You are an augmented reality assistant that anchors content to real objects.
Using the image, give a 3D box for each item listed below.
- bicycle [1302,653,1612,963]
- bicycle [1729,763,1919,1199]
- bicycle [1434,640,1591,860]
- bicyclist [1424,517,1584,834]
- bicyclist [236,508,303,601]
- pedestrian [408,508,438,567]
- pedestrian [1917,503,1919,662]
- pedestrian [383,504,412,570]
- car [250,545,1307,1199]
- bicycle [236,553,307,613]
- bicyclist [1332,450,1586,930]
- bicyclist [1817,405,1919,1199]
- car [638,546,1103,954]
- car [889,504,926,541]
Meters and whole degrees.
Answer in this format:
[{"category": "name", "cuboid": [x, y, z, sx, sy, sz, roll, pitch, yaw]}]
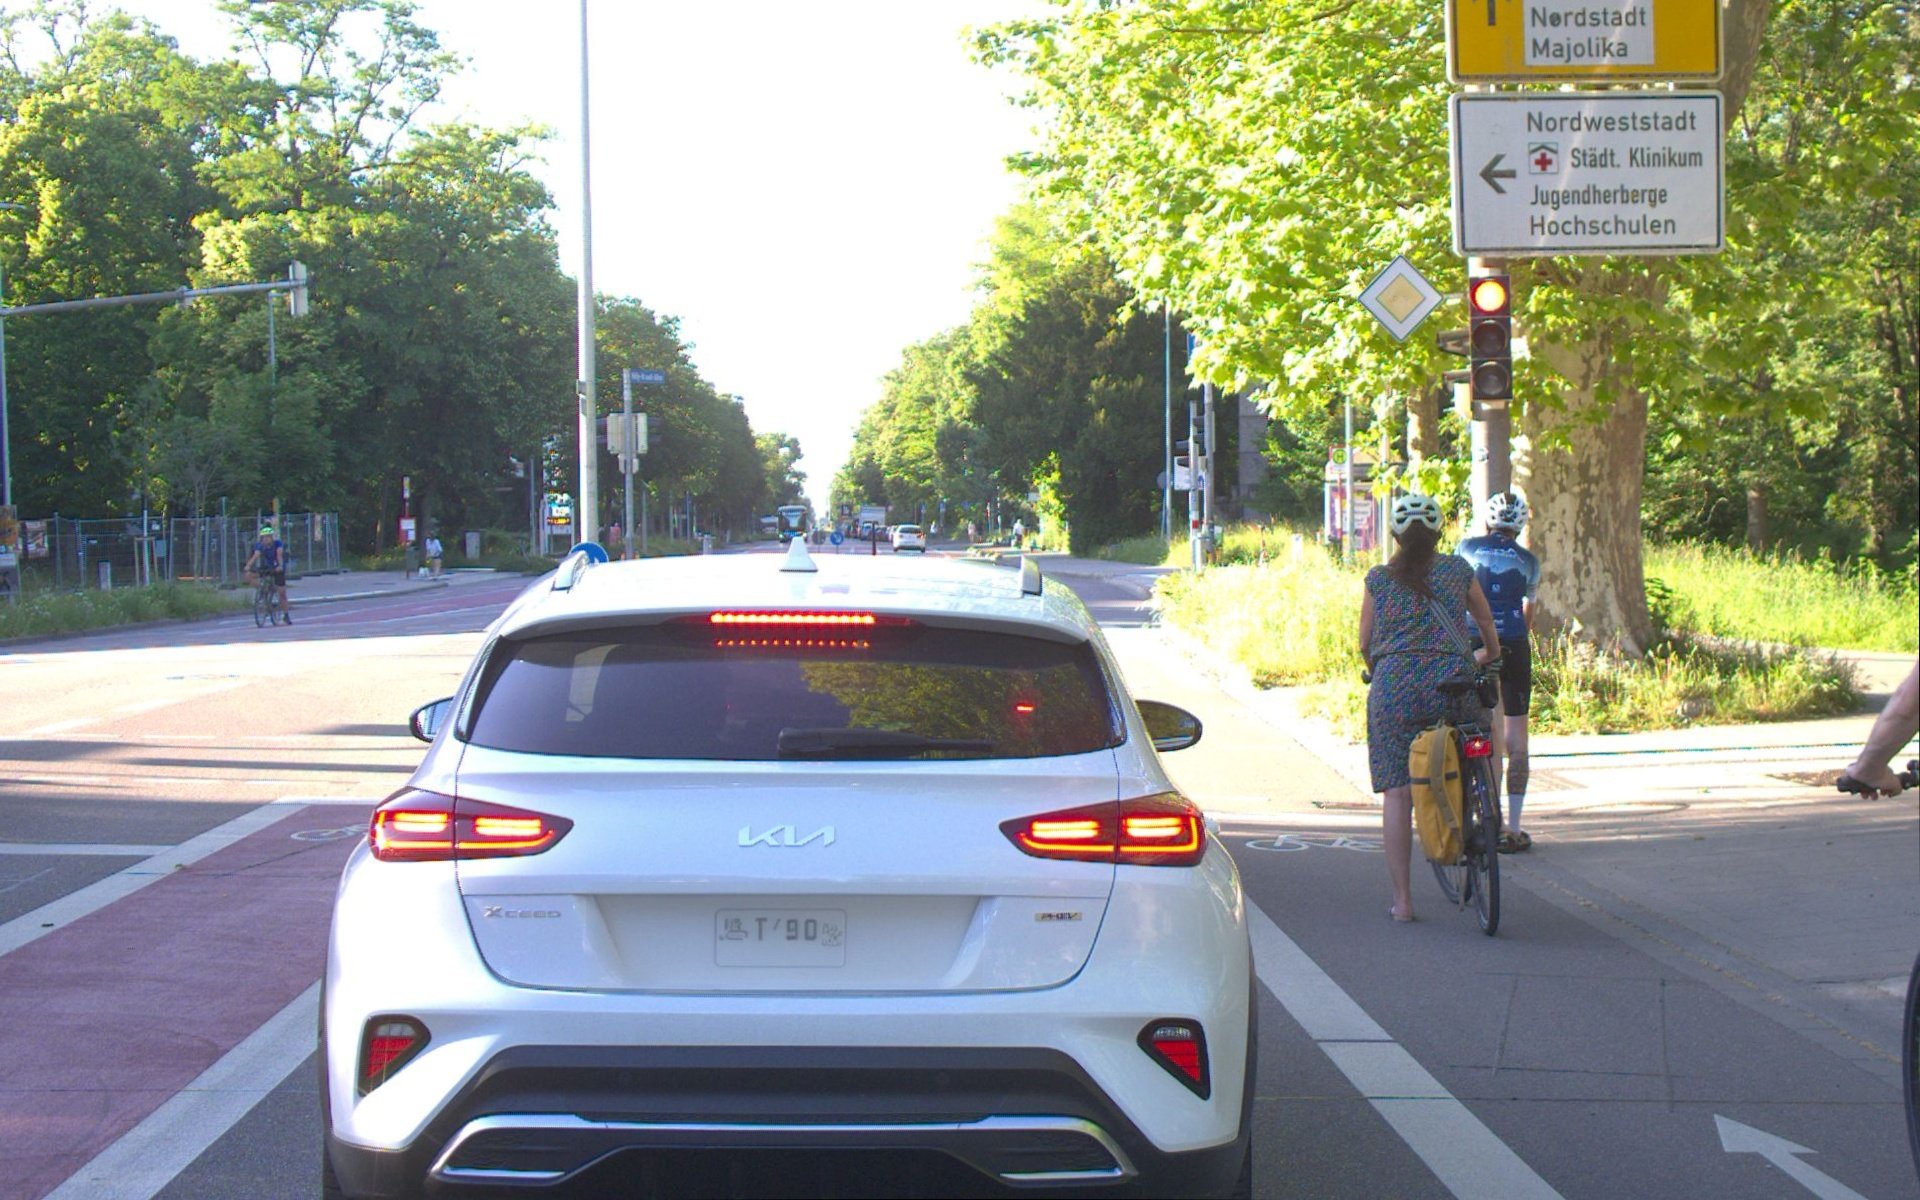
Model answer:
[{"category": "bicycle", "cuboid": [1.923, 0.772, 13.706, 0.758, 1.009, 2.570, 1, 1, -2]}, {"category": "bicycle", "cuboid": [2.115, 0.900, 6.742, 0.668, 1.006, 2.081, 1, 1, -2]}, {"category": "bicycle", "cuboid": [2.661, 0.703, 16.659, 0.401, 0.953, 1.551, -4, 1, -2]}, {"category": "bicyclist", "cuboid": [2.633, 0.352, 16.683, 0.554, 1.473, 0.717, -4, 1, -2]}, {"category": "bicyclist", "cuboid": [-12.186, -0.809, 60.721, 0.875, 1.603, 1.188, -1, 1, 1]}, {"category": "pedestrian", "cuboid": [-16.422, -1.917, 105.122, 0.785, 1.779, 0.751, 0, 1, 0]}, {"category": "pedestrian", "cuboid": [9.531, -0.158, 32.217, 0.818, 1.512, 0.916, 0, 1, -3]}, {"category": "pedestrian", "cuboid": [-17.202, -1.931, 105.082, 0.641, 2.007, 0.753, 0, 1, 12]}, {"category": "car", "cuboid": [-0.376, 0.630, 7.912, 1.821, 1.475, 3.937, 0, 1, -2]}, {"category": "bicycle", "cuboid": [-12.172, -0.316, 60.836, 0.663, 0.985, 2.504, -1, 1, 2]}, {"category": "bicyclist", "cuboid": [1.938, 0.326, 13.507, 0.753, 1.789, 1.165, 1, 1, -2]}, {"category": "bicyclist", "cuboid": [2.120, 0.429, 6.719, 0.665, 1.596, 0.721, 1, 1, -2]}, {"category": "car", "cuboid": [-0.406, 0.539, 14.780, 1.728, 1.478, 3.517, -1, 1, -2]}, {"category": "car", "cuboid": [-2.941, -4.308, 191.561, 1.993, 2.007, 4.000, -2, 1, -1]}]
